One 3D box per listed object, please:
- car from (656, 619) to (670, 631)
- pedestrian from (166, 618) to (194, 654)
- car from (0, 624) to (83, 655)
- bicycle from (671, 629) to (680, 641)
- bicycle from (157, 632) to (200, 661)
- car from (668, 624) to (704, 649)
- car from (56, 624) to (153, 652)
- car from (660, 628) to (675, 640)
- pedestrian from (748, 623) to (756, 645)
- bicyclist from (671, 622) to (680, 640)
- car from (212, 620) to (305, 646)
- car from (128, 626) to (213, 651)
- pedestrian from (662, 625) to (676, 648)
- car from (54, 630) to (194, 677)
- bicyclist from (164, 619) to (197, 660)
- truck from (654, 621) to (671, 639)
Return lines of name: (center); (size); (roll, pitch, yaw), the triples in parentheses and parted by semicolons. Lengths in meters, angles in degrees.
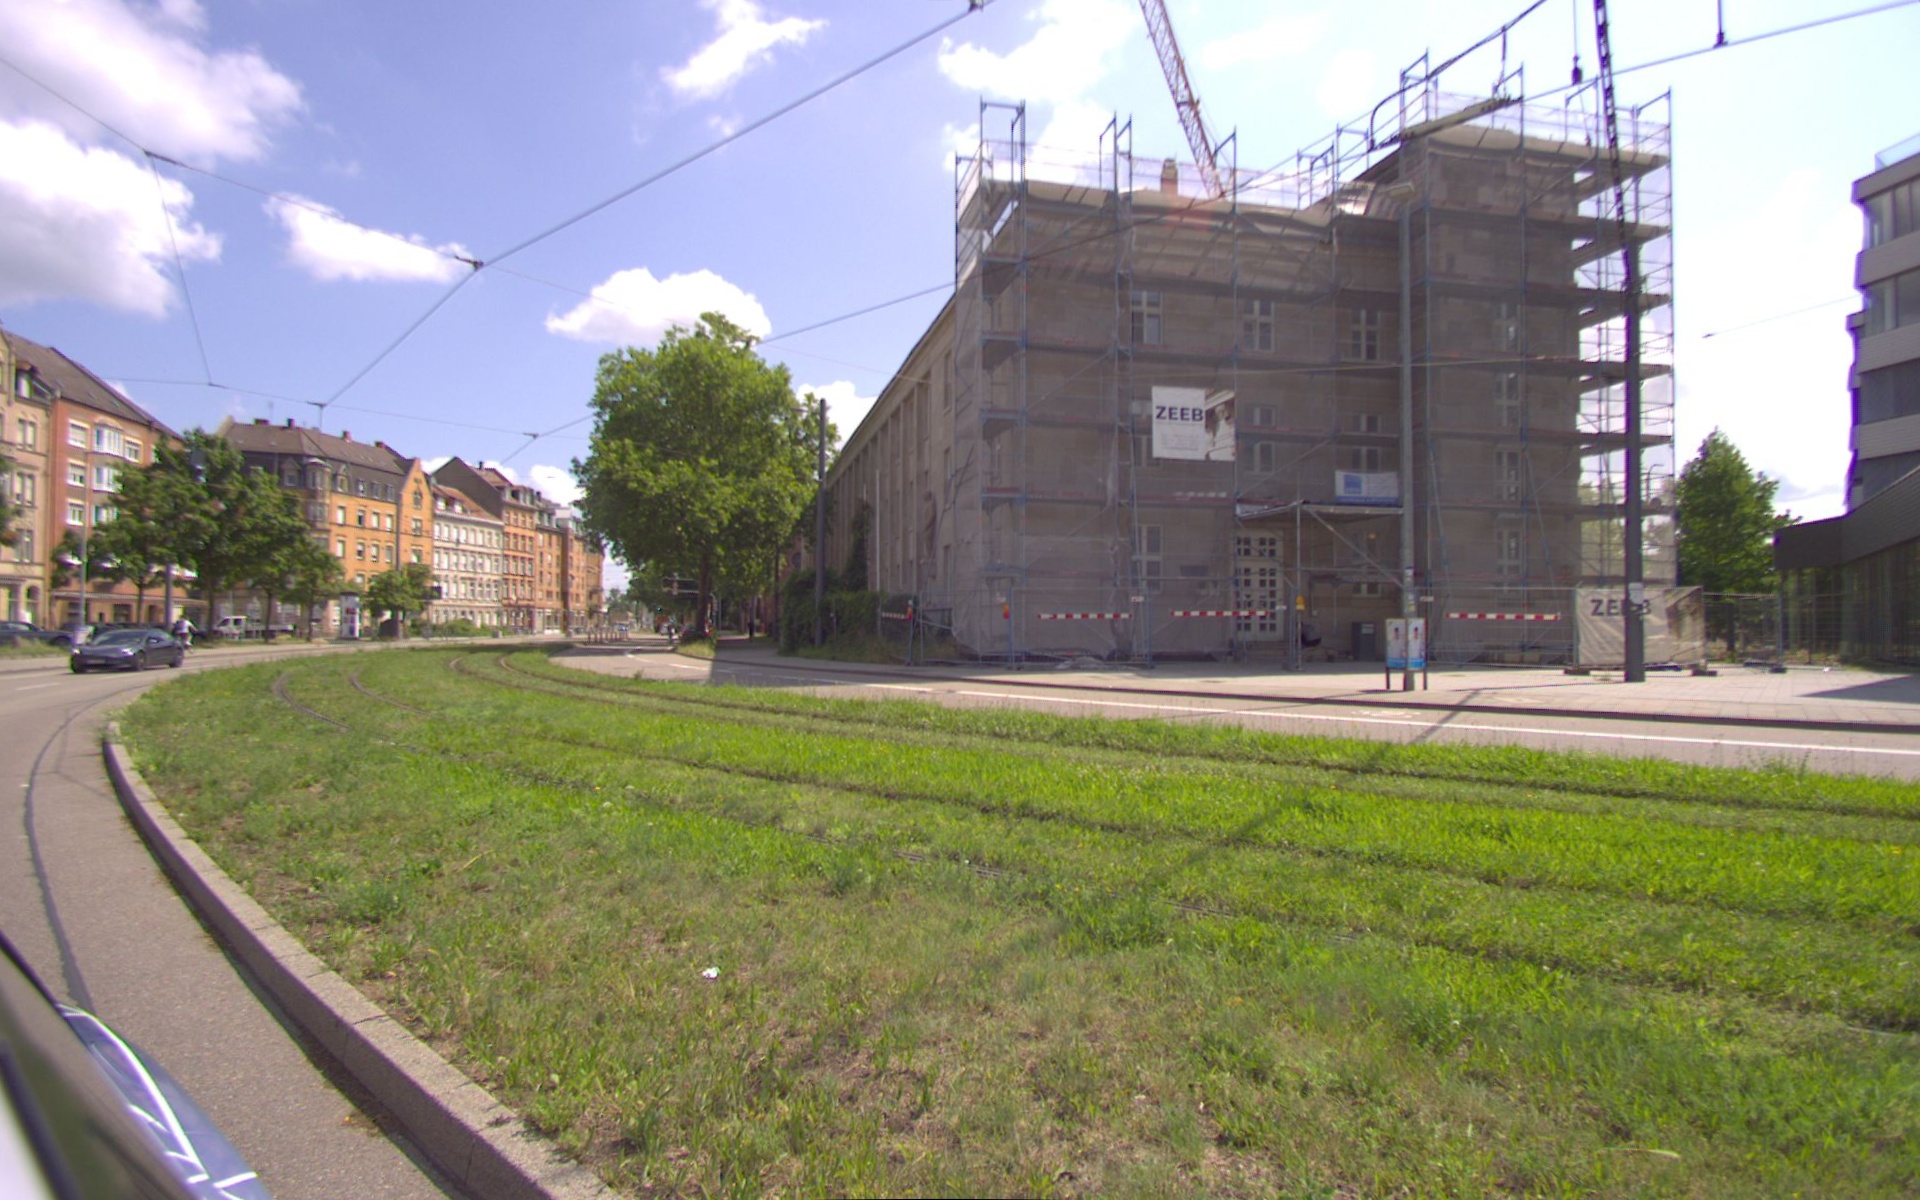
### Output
car: (-48.935, 4.111, 166.772); (1.894, 1.759, 4.550); (3, -2, -15)
pedestrian: (-38.174, 1.756, 49.534); (0.690, 1.717, 1.048); (1, 0, -15)
car: (-44.124, 1.849, 47.541); (1.851, 1.391, 4.212); (-2, -1, 40)
bicycle: (-26.691, 3.248, 94.906); (0.780, 1.118, 2.282); (-1, -1, -14)
bicycle: (-36.084, 2.137, 46.754); (0.685, 1.251, 1.843); (5, -4, -10)
car: (-16.003, 2.132, 59.078); (1.900, 1.379, 4.329); (-1, -2, -16)
car: (-46.106, 2.020, 54.613); (3.938, 1.391, 1.964); (0, -1, -42)
car: (-39.083, 4.559, 135.240); (1.736, 1.491, 3.798); (3, -3, -15)
pedestrian: (-14.907, 2.424, 72.473); (0.546, 1.603, 0.797); (-1, -1, -15)
bicyclist: (-26.663, 2.913, 94.786); (0.751, 1.717, 0.785); (-1, -1, -13)
car: (-66.296, 3.115, 95.744); (6.859, 2.392, 2.270); (0, -2, -21)
car: (-47.443, 2.274, 60.905); (3.934, 1.364, 1.966); (0, -1, -36)
pedestrian: (-21.582, 2.718, 75.104); (0.771, 1.717, 0.703); (0, -2, -43)
car: (-28.285, 1.760, 34.419); (1.884, 1.404, 4.323); (-1, -1, -12)
bicyclist: (-36.073, 1.842, 46.847); (0.685, 1.838, 0.958); (5, -4, -10)
truck: (-55.439, 5.526, 188.512); (2.603, 3.130, 7.241); (2, -2, -14)
